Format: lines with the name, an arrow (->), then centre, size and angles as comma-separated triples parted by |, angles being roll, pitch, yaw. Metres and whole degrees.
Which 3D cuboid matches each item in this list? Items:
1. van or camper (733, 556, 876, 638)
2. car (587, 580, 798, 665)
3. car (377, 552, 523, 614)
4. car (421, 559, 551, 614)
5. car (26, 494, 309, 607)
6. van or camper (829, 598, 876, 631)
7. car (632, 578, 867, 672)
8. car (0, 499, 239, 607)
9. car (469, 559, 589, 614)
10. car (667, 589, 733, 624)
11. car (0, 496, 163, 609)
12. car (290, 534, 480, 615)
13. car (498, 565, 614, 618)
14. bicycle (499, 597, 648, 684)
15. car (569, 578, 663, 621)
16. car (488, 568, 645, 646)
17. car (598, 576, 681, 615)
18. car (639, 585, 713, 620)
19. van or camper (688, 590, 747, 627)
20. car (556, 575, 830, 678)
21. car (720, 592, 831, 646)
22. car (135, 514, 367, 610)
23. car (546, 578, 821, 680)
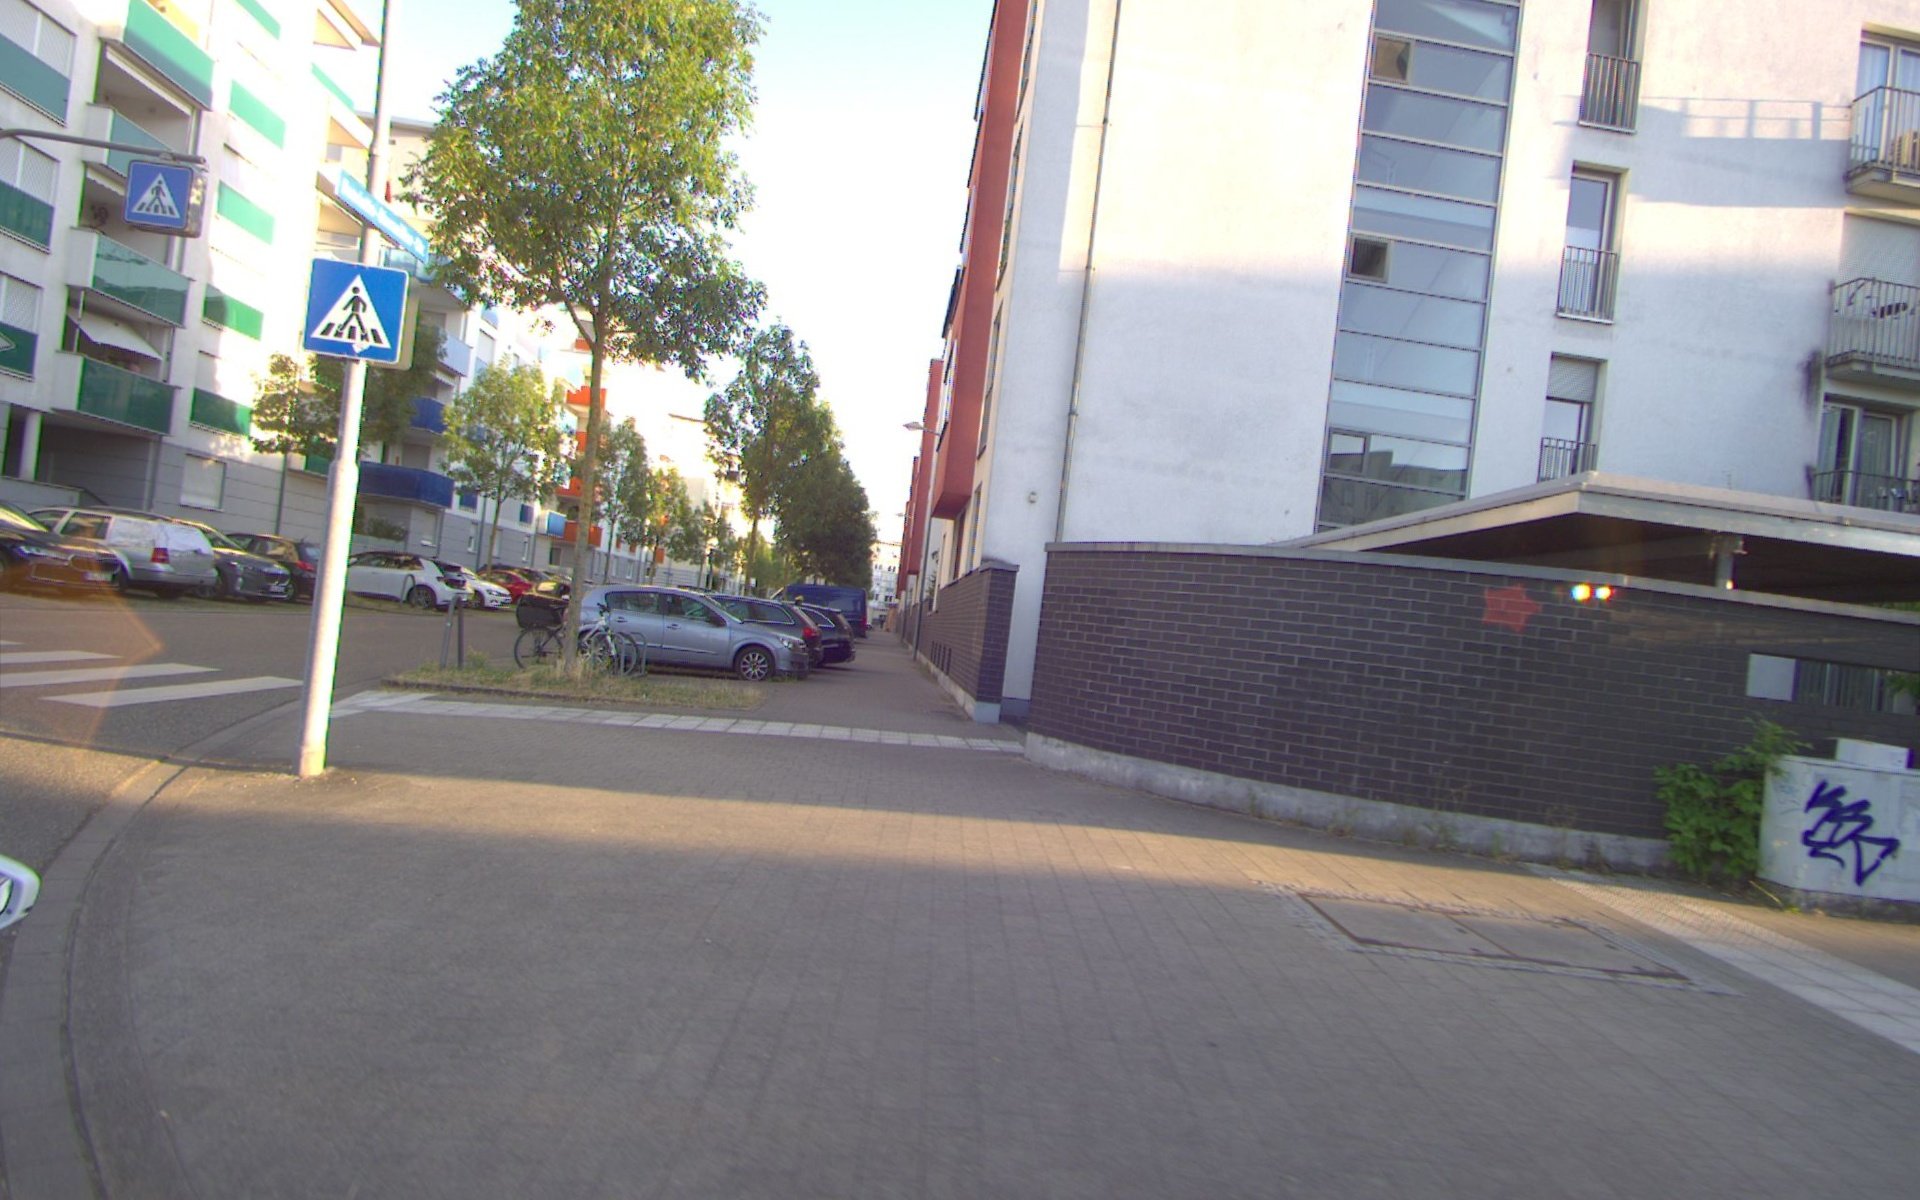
van or camper -> -7.286, -0.102, 47.427 | 6.208, 3.124, 2.440 | 6, -1, -8
car -> -6.423, 0.555, 24.619 | 4.678, 1.604, 1.757 | 5, -1, -8
car -> -17.048, -0.529, 33.765 | 3.856, 1.359, 1.722 | 10, -2, -8
car -> -17.977, -0.472, 38.314 | 4.036, 1.377, 1.665 | 10, -2, -8
car -> -16.373, -0.970, 20.980 | 4.222, 1.510, 1.742 | 10, -2, -5
van or camper -> -10.647, 1.439, 99.513 | 4.180, 2.563, 1.761 | 10, -1, -3
car -> -4.517, 0.560, 22.082 | 4.699, 1.574, 1.711 | 5, -1, 0
car -> -16.150, -0.893, 18.524 | 4.334, 1.525, 1.743 | 6, -2, -1
car -> -17.590, -0.532, 41.178 | 4.036, 1.525, 1.664 | 10, -2, -8
car -> -18.884, 0.479, 73.278 | 4.179, 1.798, 1.693 | 10, -1, -3
car -> -16.021, -1.005, 16.076 | 4.804, 1.474, 1.938 | 10, -2, -2
car -> -16.310, -0.675, 28.709 | 4.225, 1.524, 1.684 | 10, -2, -7
car -> -17.464, -0.336, 43.604 | 4.184, 1.525, 1.750 | 10, -2, -8
bicycle -> -5.370, 0.569, 14.051 | 1.789, 1.079, 0.567 | 4, -1, -6
car -> -18.192, -0.020, 53.332 | 4.179, 1.553, 1.693 | 10, -2, -3
car -> -10.930, 0.186, 27.872 | 4.108, 1.479, 1.777 | 8, -2, 31
car -> -18.799, -0.269, 59.109 | 4.179, 1.553, 1.693 | 10, -2, -3
car -> -18.451, 0.158, 65.487 | 4.179, 1.553, 1.693 | 10, -2, -3
van or camper -> -19.607, 0.707, 81.526 | 4.180, 2.236, 1.692 | 10, -1, -4
car -> -5.027, 0.532, 19.534 | 4.830, 1.496, 1.710 | 5, -1, -6
car -> -7.115, 0.746, 39.123 | 4.033, 1.645, 1.722 | 6, -1, -8
car -> -16.766, -0.862, 23.902 | 4.217, 1.474, 1.745 | 9, -2, 5
car -> -4.536, 0.497, 17.020 | 4.216, 1.476, 1.680 | 2, -1, -6
